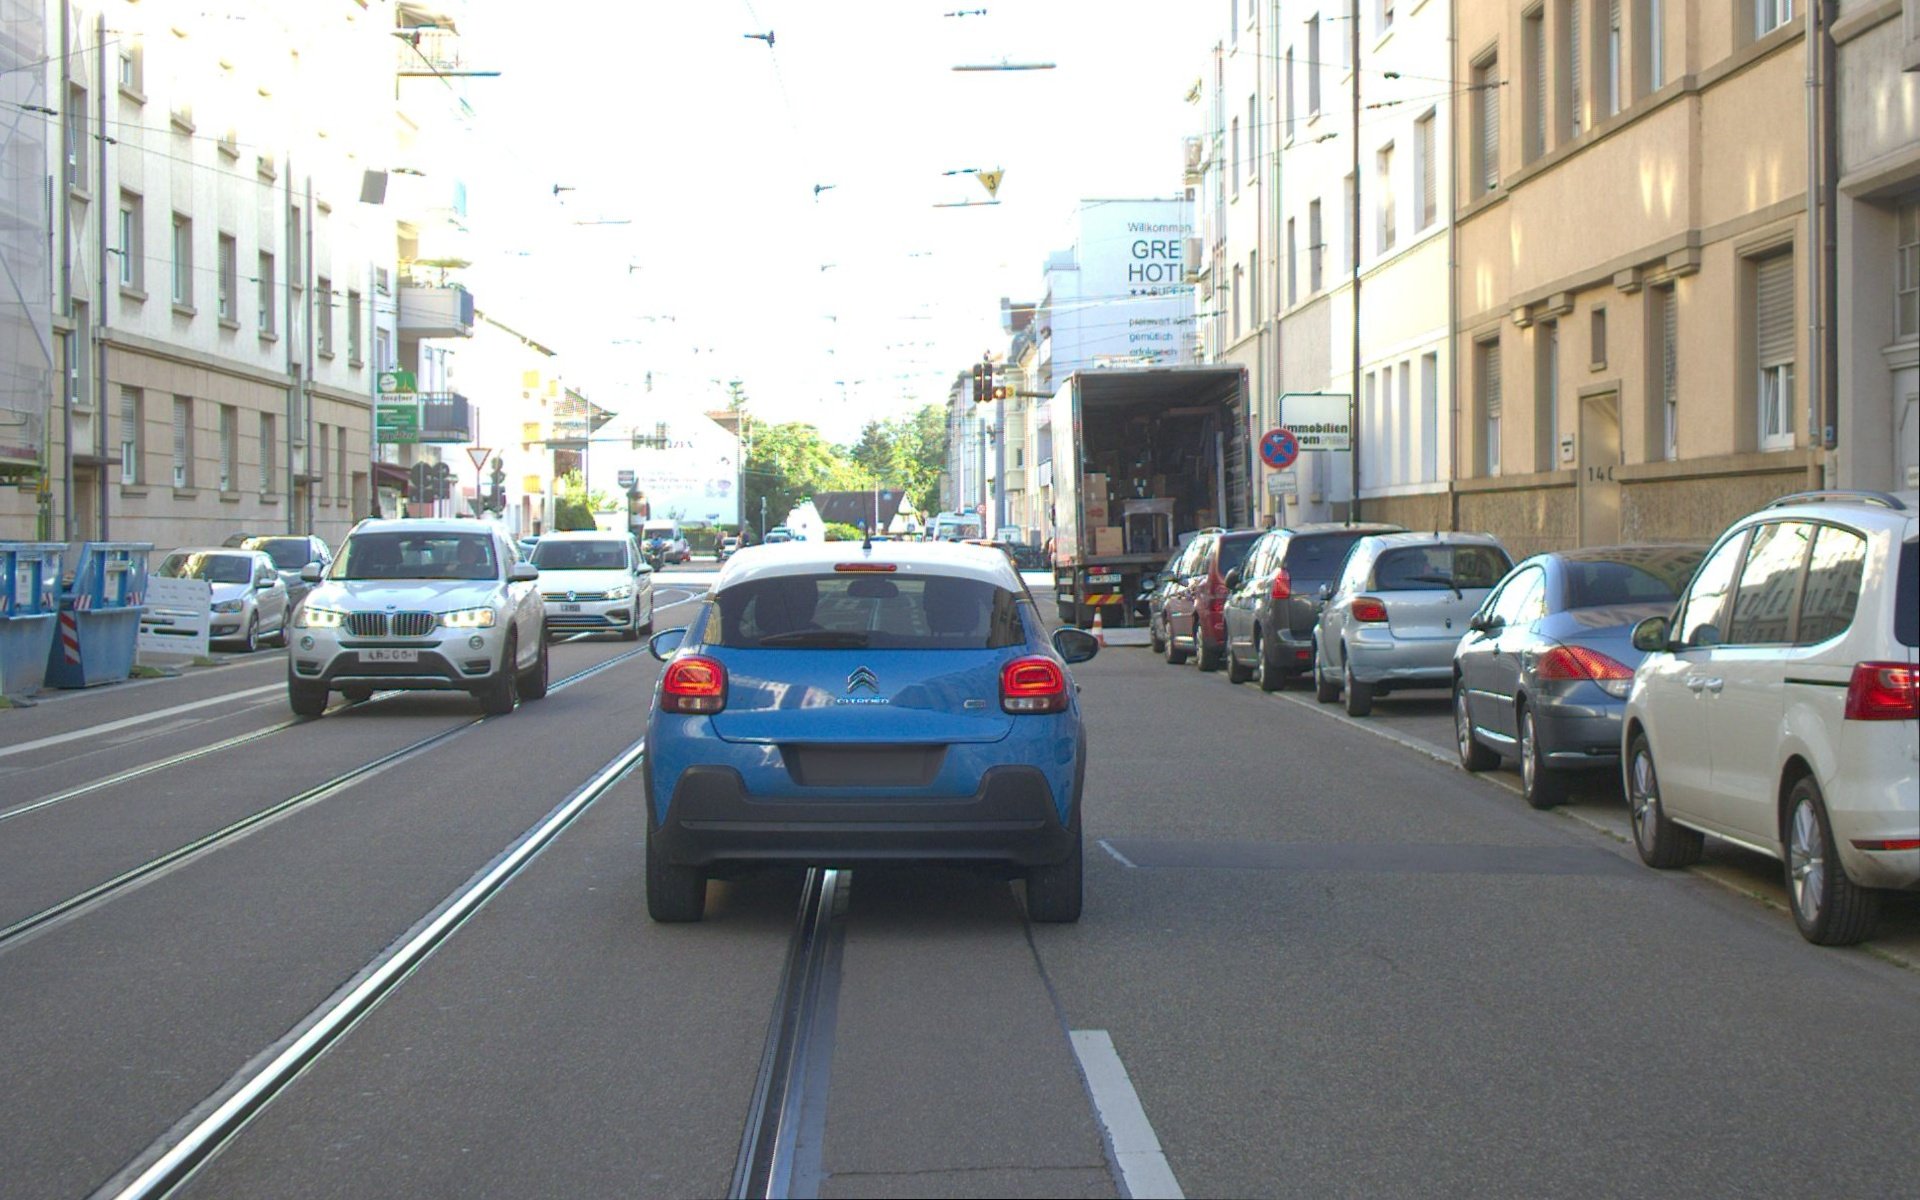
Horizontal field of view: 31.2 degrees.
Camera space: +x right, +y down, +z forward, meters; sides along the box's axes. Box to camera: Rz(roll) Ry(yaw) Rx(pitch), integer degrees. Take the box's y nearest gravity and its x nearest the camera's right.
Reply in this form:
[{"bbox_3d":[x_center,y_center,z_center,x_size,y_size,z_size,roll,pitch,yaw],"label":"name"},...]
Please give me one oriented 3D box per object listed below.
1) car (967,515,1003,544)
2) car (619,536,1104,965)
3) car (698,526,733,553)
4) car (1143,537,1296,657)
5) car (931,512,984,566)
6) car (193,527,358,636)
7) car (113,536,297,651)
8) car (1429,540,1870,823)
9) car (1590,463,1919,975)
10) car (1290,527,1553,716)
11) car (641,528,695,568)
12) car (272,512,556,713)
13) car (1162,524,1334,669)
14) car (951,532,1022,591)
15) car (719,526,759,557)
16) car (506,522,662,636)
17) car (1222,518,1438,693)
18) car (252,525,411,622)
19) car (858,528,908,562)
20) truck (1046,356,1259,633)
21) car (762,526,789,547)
[{"bbox_3d":[1.283,-3.662,177.605,1.765,1.481,4.032,0,1,-1],"label":"car"},{"bbox_3d":[-0.387,0.515,14.597,1.735,1.502,3.993,2,1,-1],"label":"car"},{"bbox_3d":[-13.947,-3.468,196.159,1.765,1.481,4.032,0,1,-1],"label":"car"},{"bbox_3d":[3.369,-0.079,45.236,1.664,1.481,4.032,0,1,-1],"label":"car"},{"bbox_3d":[-0.140,-2.632,148.398,2.220,2.276,4.084,0,1,-1],"label":"car"},{"bbox_3d":[-10.513,-0.317,53.052,1.714,1.588,4.267,0,1,-1],"label":"car"},{"bbox_3d":[-10.521,-0.122,48.160,1.714,1.512,4.048,0,1,-1],"label":"car"},{"bbox_3d":[3.971,0.397,20.467,1.722,1.481,4.222,0,1,-1],"label":"car"},{"bbox_3d":[4.001,0.369,14.592,1.730,1.821,4.687,0,1,-1],"label":"car"},{"bbox_3d":[3.933,0.132,29.896,1.664,1.514,4.222,0,1,-1],"label":"car"},{"bbox_3d":[-12.148,-2.189,143.285,1.901,1.626,4.267,0,1,-1],"label":"car"},{"bbox_3d":[-4.722,0.054,30.315,1.826,1.626,4.491,0,1,-1],"label":"car"},{"bbox_3d":[3.363,-0.082,40.755,1.664,1.627,3.871,0,1,-1],"label":"car"},{"bbox_3d":[0.673,-1.010,89.576,1.765,1.481,4.032,0,1,-1],"label":"car"},{"bbox_3d":[-11.027,-2.931,171.395,1.765,1.481,4.032,0,1,-1],"label":"car"},{"bbox_3d":[-5.576,-0.344,51.458,1.901,1.626,4.267,0,1,-1],"label":"car"},{"bbox_3d":[3.674,0.007,34.737,1.664,1.641,4.222,0,1,-1],"label":"car"},{"bbox_3d":[-11.110,-0.493,61.026,2.144,1.616,4.001,-1,1,-1],"label":"car"},{"bbox_3d":[-3.423,-2.459,153.541,2.180,1.481,4.160,0,1,-1],"label":"car"},{"bbox_3d":[2.984,-1.686,56.426,2.853,4.069,11.271,0,1,0],"label":"truck"},{"bbox_3d":[-13.239,-4.574,246.421,1.765,1.481,4.032,0,1,-1],"label":"car"}]
